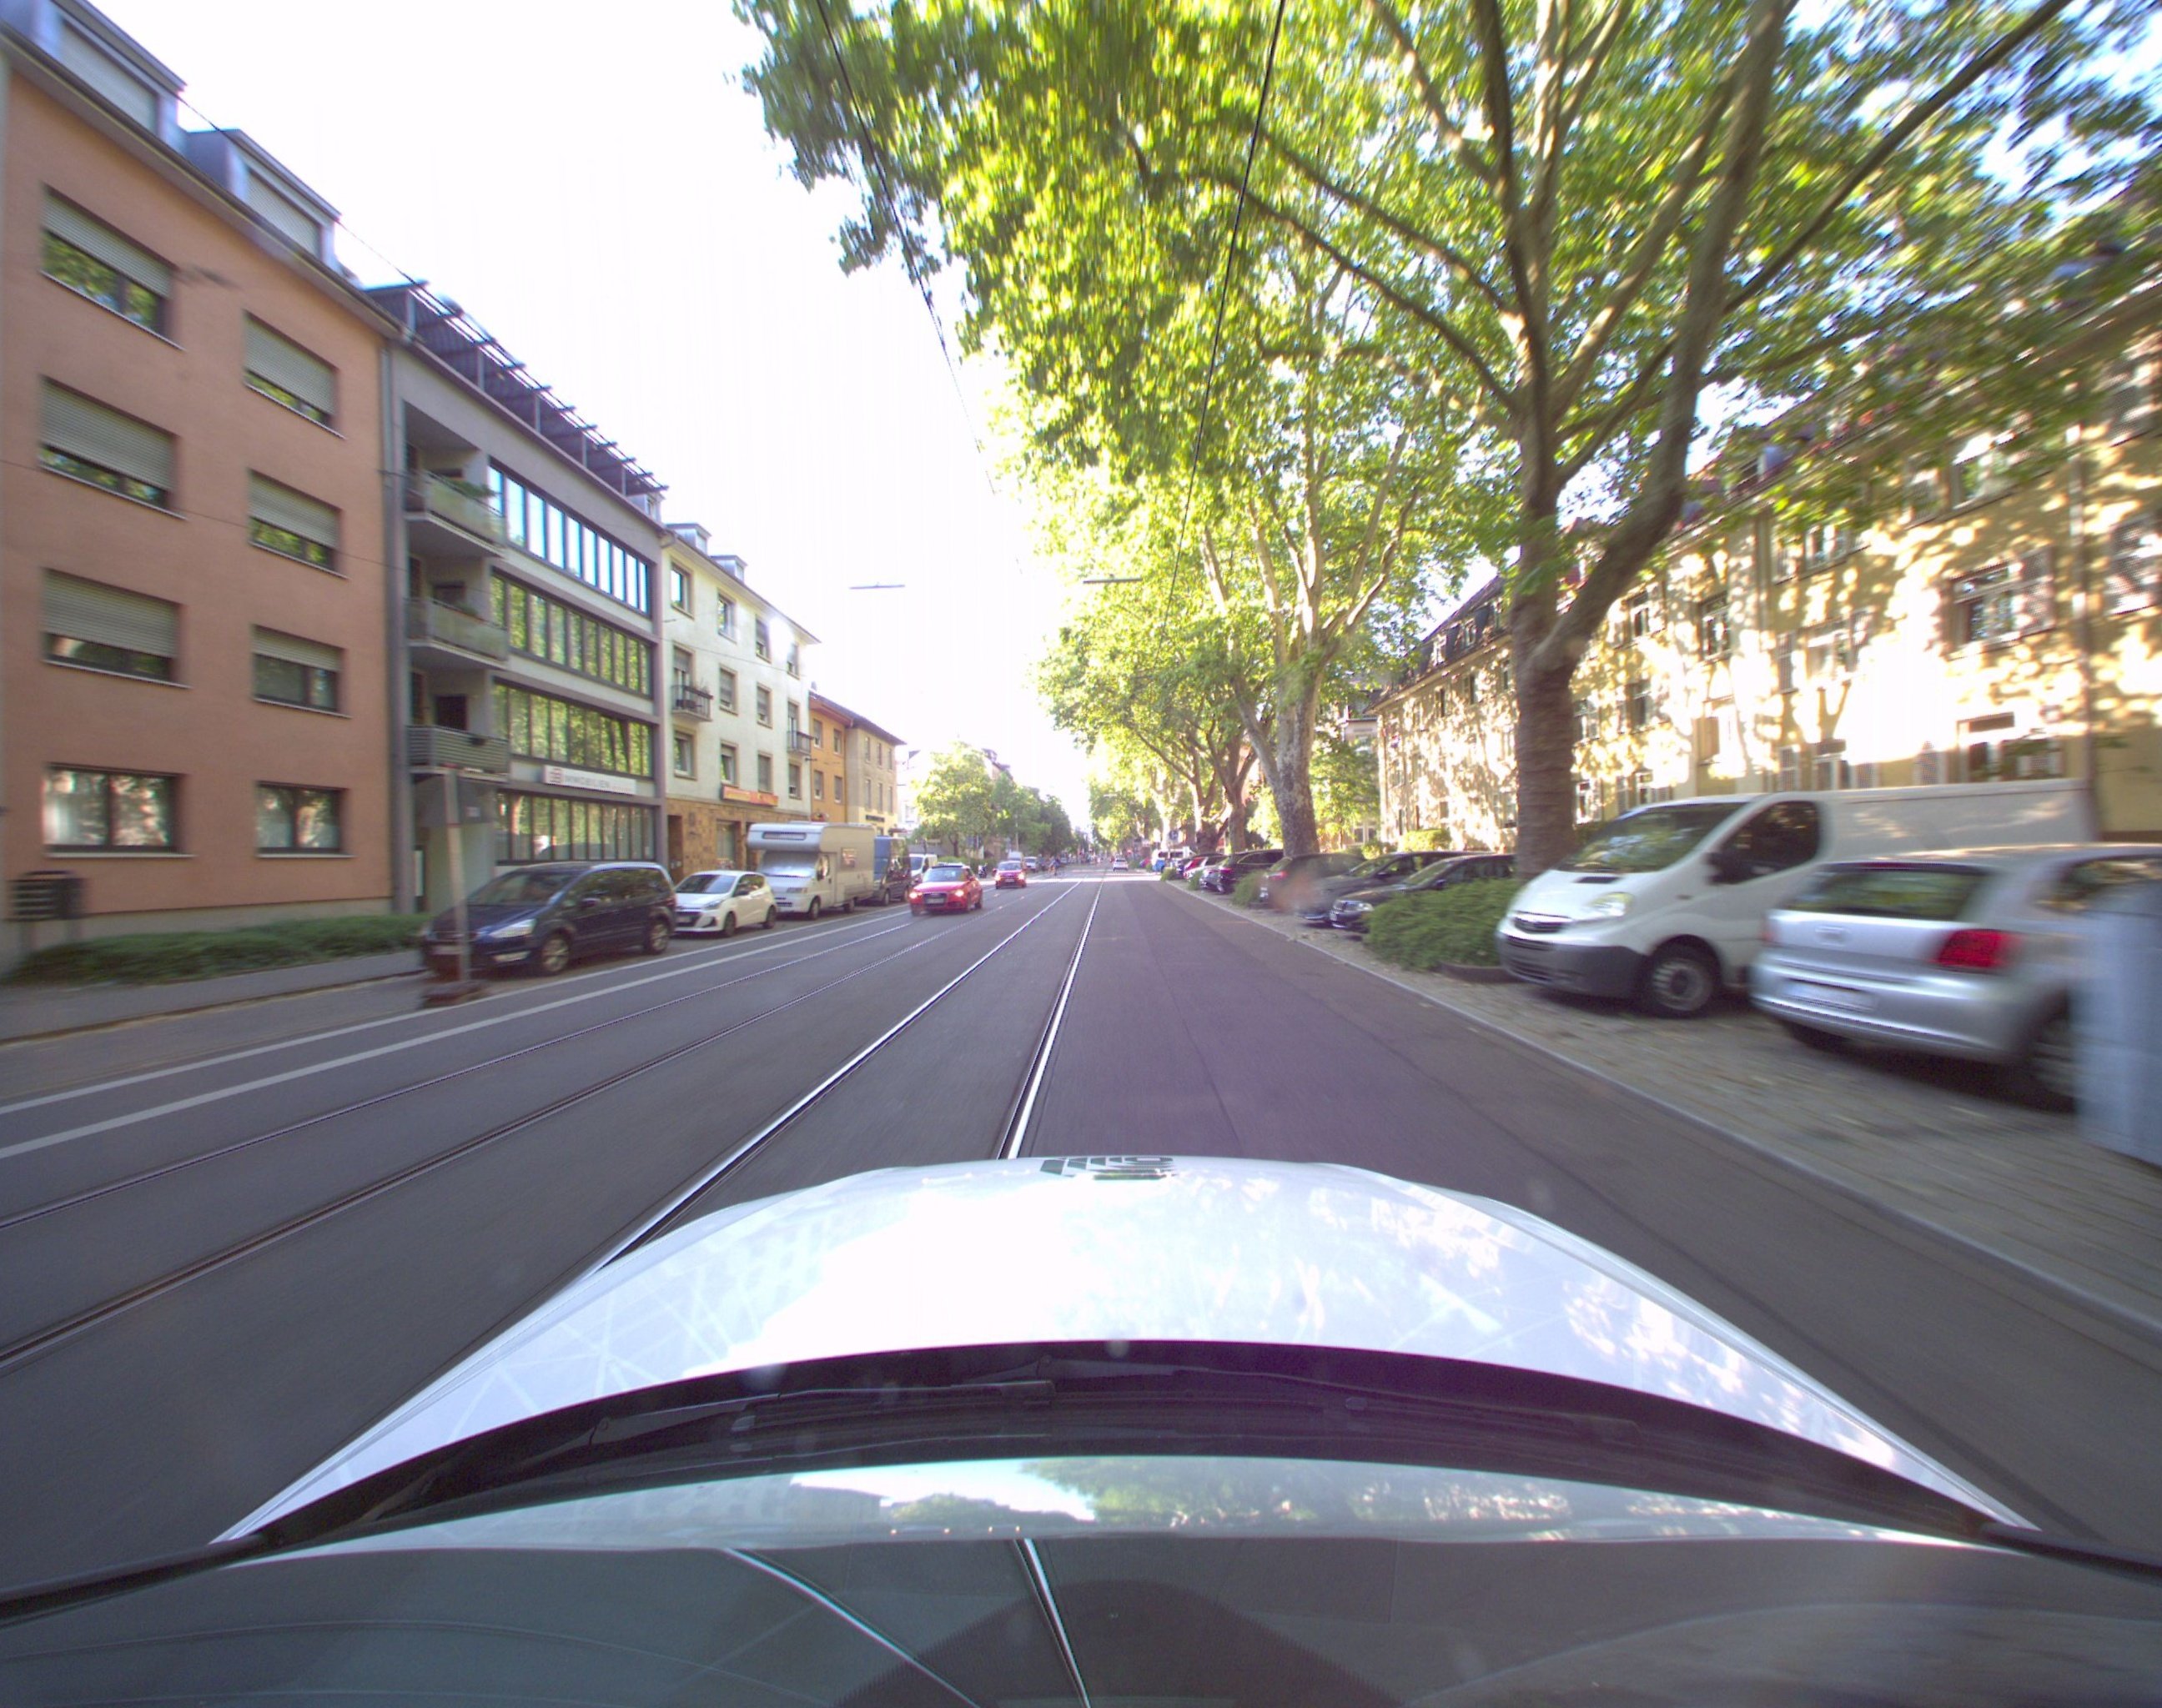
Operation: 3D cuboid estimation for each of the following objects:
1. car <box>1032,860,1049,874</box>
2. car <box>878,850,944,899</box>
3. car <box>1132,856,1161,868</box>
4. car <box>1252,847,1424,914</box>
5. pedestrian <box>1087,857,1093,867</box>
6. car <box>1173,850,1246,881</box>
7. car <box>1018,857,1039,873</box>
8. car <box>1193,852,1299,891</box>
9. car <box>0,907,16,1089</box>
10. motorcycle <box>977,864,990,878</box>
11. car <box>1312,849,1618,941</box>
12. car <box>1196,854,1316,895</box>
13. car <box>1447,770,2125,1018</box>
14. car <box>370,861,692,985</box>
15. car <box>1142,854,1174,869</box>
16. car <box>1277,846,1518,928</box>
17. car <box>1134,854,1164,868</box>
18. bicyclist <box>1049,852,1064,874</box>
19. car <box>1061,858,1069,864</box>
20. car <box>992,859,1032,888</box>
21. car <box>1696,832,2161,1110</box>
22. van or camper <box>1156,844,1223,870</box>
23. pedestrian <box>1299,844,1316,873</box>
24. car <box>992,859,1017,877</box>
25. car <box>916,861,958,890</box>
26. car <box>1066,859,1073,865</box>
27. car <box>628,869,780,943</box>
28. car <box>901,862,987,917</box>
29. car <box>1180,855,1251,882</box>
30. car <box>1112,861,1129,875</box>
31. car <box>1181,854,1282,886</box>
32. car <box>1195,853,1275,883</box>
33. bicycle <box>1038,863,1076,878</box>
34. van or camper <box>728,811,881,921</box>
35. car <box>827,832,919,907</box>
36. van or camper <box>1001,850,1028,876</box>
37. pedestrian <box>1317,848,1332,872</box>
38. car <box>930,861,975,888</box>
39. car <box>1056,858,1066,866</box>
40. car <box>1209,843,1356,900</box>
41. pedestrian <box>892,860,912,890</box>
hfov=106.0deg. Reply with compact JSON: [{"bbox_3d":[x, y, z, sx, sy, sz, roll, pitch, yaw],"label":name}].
[{"bbox_3d":[-5.751,1.825,114.809,1.986,1.861,4.180,-2,0,2],"label":"car"},{"bbox_3d":[-8.001,0.891,38.788,1.946,2.091,5.248,2,0,0],"label":"car"},{"bbox_3d":[9.128,1.160,113.756,3.971,1.521,2.001,-2,0,2],"label":"car"},{"bbox_3d":[6.420,0.644,20.648,3.824,1.509,1.711,-2,0,1],"label":"car"},{"bbox_3d":[1.882,1.729,168.093,1.043,2.014,1.083,-2,-1,5],"label":"pedestrian"},{"bbox_3d":[7.401,0.649,47.345,3.911,1.670,1.961,-2,0,0],"label":"car"},{"bbox_3d":[-6.439,1.345,100.405,2.165,1.861,4.661,-2,0,2],"label":"car"},{"bbox_3d":[6.898,0.718,34.327,4.126,1.509,1.797,-2,0,2],"label":"car"},{"bbox_3d":[-9.280,1.111,4.200,1.732,1.401,4.383,0,0,1],"label":"car"},{"bbox_3d":[-8.643,1.540,72.413,0.760,1.107,2.331,-1,2,2],"label":"motorcycle"},{"bbox_3d":[6.371,0.676,13.960,4.375,1.380,1.807,-2,-1,5],"label":"car"},{"bbox_3d":[6.768,0.783,31.864,4.281,1.439,1.948,-2,0,0],"label":"car"},{"bbox_3d":[6.453,0.336,7.934,4.821,1.963,2.064,-2,0,-1],"label":"car"},{"bbox_3d":[-8.860,0.980,13.862,1.945,1.686,5.071,0,0,1],"label":"car"},{"bbox_3d":[9.960,1.001,105.875,3.971,1.784,2.001,-2,0,2],"label":"car"},{"bbox_3d":[6.396,0.657,16.843,4.231,1.483,1.898,-2,0,1],"label":"car"},{"bbox_3d":[9.351,1.019,111.443,3.971,1.784,2.001,-2,0,2],"label":"car"},{"bbox_3d":[-1.985,0.721,65.214,1.045,1.705,1.055,-2,0,-8],"label":"bicyclist"},{"bbox_3d":[-4.051,1.873,211.380,1.912,1.419,3.589,-2,0,0],"label":"car"},{"bbox_3d":[-3.793,1.061,45.378,1.657,1.479,3.952,-3,0,2],"label":"car"},{"bbox_3d":[6.357,0.608,5.262,3.516,1.446,1.672,-2,0,-1],"label":"car"},{"bbox_3d":[9.454,0.262,71.225,5.542,2.013,2.242,-2,2,-3],"label":"van or camper"},{"bbox_3d":[13.891,0.284,50.006,0.757,1.739,0.821,-2,-1,2],"label":"pedestrian"},{"bbox_3d":[-7.172,1.314,76.495,1.780,1.587,4.344,1,0,1],"label":"car"},{"bbox_3d":[-7.872,1.178,44.853,1.565,1.526,3.043,0,0,4],"label":"car"},{"bbox_3d":[-3.287,2.310,233.469,1.912,1.419,3.590,-2,0,0],"label":"car"},{"bbox_3d":[-8.756,1.147,19.324,1.704,1.488,3.862,1,0,1],"label":"car"},{"bbox_3d":[-4.068,1.013,24.820,1.717,1.437,4.071,-3,0,2],"label":"car"},{"bbox_3d":[7.409,0.777,45.118,3.635,1.378,1.891,-2,0,2],"label":"car"},{"bbox_3d":[4.648,1.631,95.810,1.911,1.584,3.792,-3,0,2],"label":"car"},{"bbox_3d":[7.359,0.775,40.247,4.669,1.446,1.893,-2,0,2],"label":"car"},{"bbox_3d":[8.043,0.730,42.685,3.868,1.435,1.754,-2,0,2],"label":"car"},{"bbox_3d":[-1.938,1.306,65.209,2.946,1.105,1.049,-2,0,-8],"label":"bicycle"},{"bbox_3d":[-8.548,0.343,26.031,2.328,3.041,6.402,2,0,3],"label":"van or camper"},{"bbox_3d":[-8.212,0.569,32.734,2.078,2.731,5.312,1,0,2],"label":"car"},{"bbox_3d":[-6.948,0.935,85.734,2.071,2.533,5.320,-2,0,2],"label":"van or camper"},{"bbox_3d":[14.690,0.358,49.155,0.659,1.455,0.821,-2,-1,2],"label":"pedestrian"},{"bbox_3d":[-7.707,1.210,49.327,1.830,1.468,5.069,1,0,0],"label":"car"},{"bbox_3d":[-4.426,1.795,179.112,1.912,1.419,3.718,-3,-6,0],"label":"car"},{"bbox_3d":[6.671,0.574,27.387,4.474,1.602,2.030,-4,-1,5],"label":"car"},{"bbox_3d":[-9.775,1.120,44.459,0.784,1.592,0.942,-2,-1,2],"label":"pedestrian"}]
